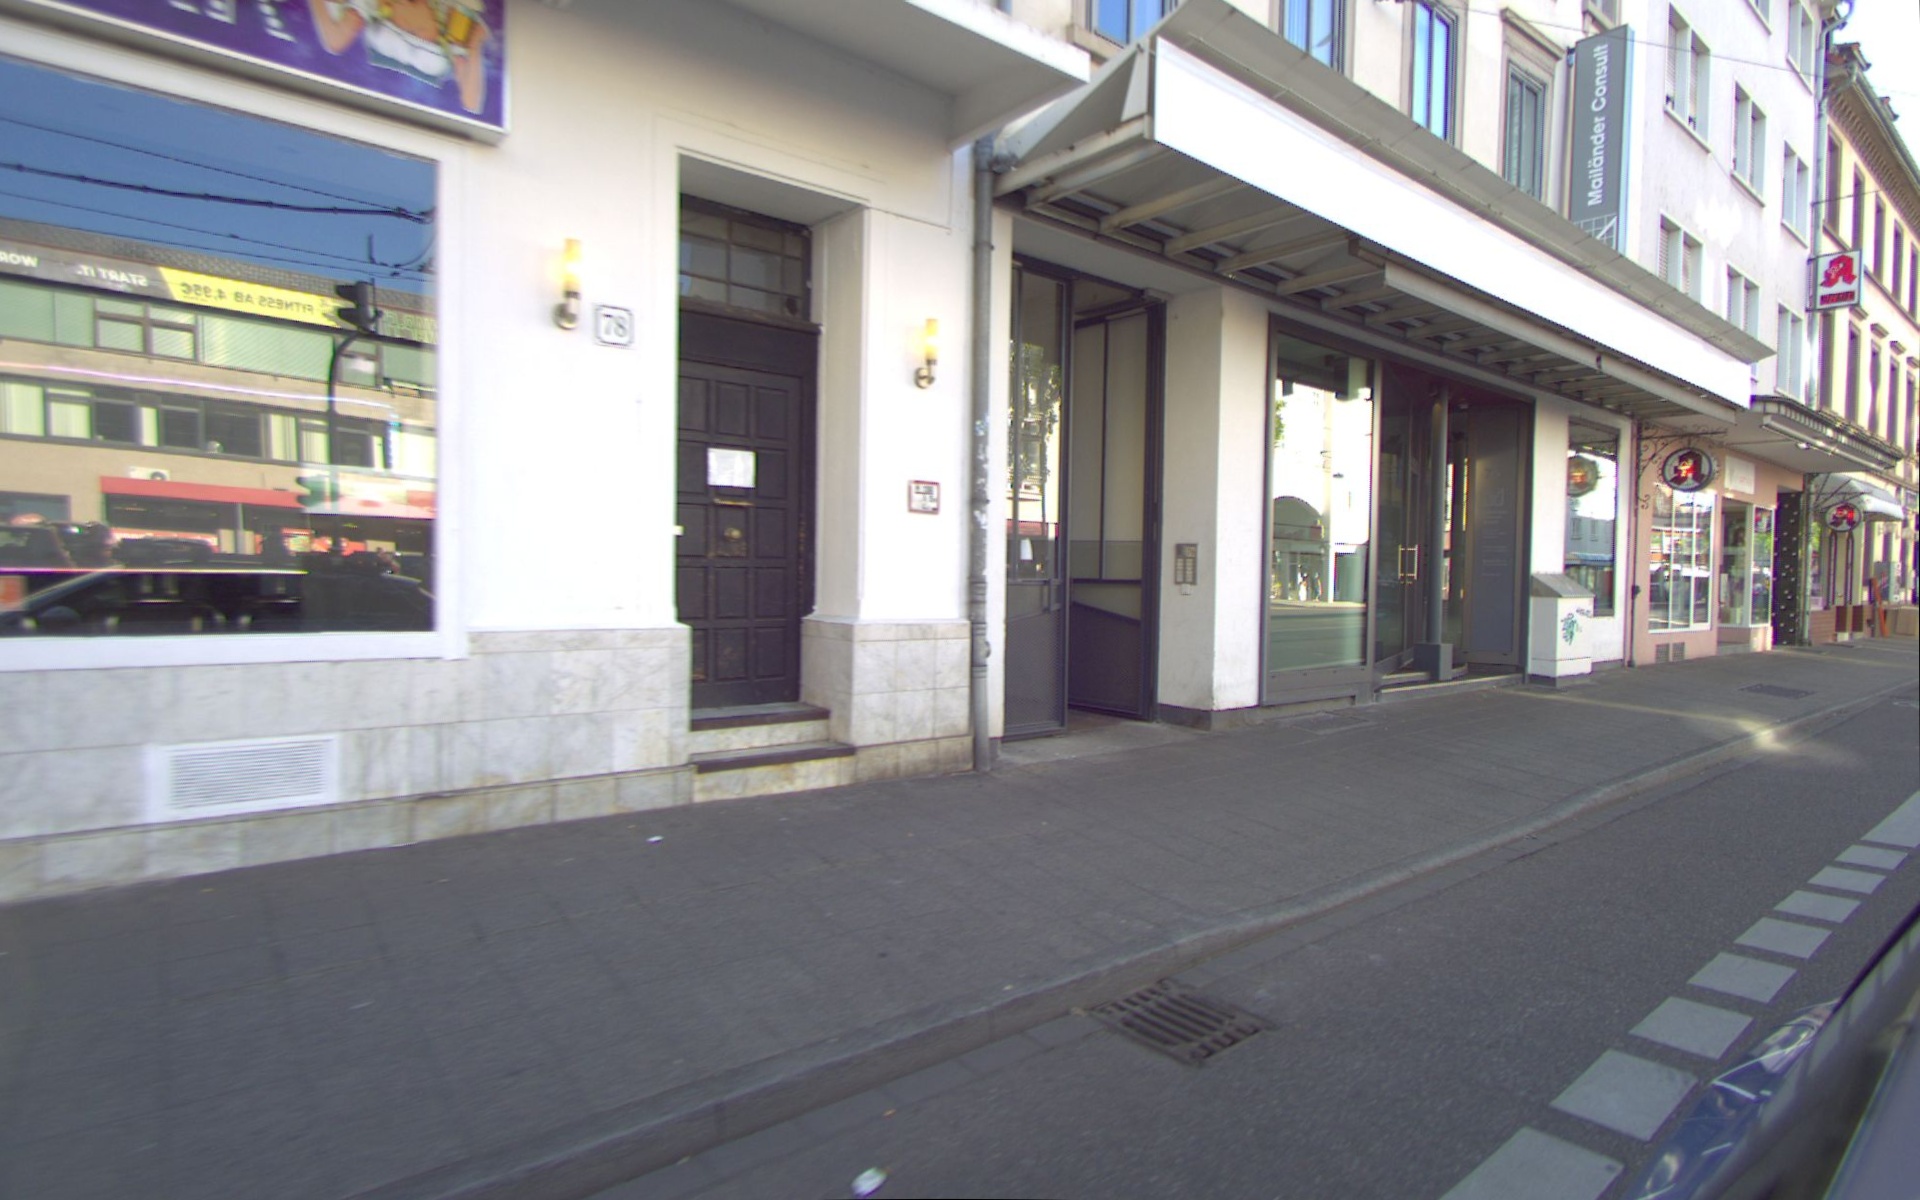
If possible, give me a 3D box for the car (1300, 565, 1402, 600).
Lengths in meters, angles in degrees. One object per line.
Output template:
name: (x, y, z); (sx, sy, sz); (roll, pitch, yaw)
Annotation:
car: (19.435, -0.876, 50.302); (4.538, 1.693, 1.650); (0, 2, -13)
